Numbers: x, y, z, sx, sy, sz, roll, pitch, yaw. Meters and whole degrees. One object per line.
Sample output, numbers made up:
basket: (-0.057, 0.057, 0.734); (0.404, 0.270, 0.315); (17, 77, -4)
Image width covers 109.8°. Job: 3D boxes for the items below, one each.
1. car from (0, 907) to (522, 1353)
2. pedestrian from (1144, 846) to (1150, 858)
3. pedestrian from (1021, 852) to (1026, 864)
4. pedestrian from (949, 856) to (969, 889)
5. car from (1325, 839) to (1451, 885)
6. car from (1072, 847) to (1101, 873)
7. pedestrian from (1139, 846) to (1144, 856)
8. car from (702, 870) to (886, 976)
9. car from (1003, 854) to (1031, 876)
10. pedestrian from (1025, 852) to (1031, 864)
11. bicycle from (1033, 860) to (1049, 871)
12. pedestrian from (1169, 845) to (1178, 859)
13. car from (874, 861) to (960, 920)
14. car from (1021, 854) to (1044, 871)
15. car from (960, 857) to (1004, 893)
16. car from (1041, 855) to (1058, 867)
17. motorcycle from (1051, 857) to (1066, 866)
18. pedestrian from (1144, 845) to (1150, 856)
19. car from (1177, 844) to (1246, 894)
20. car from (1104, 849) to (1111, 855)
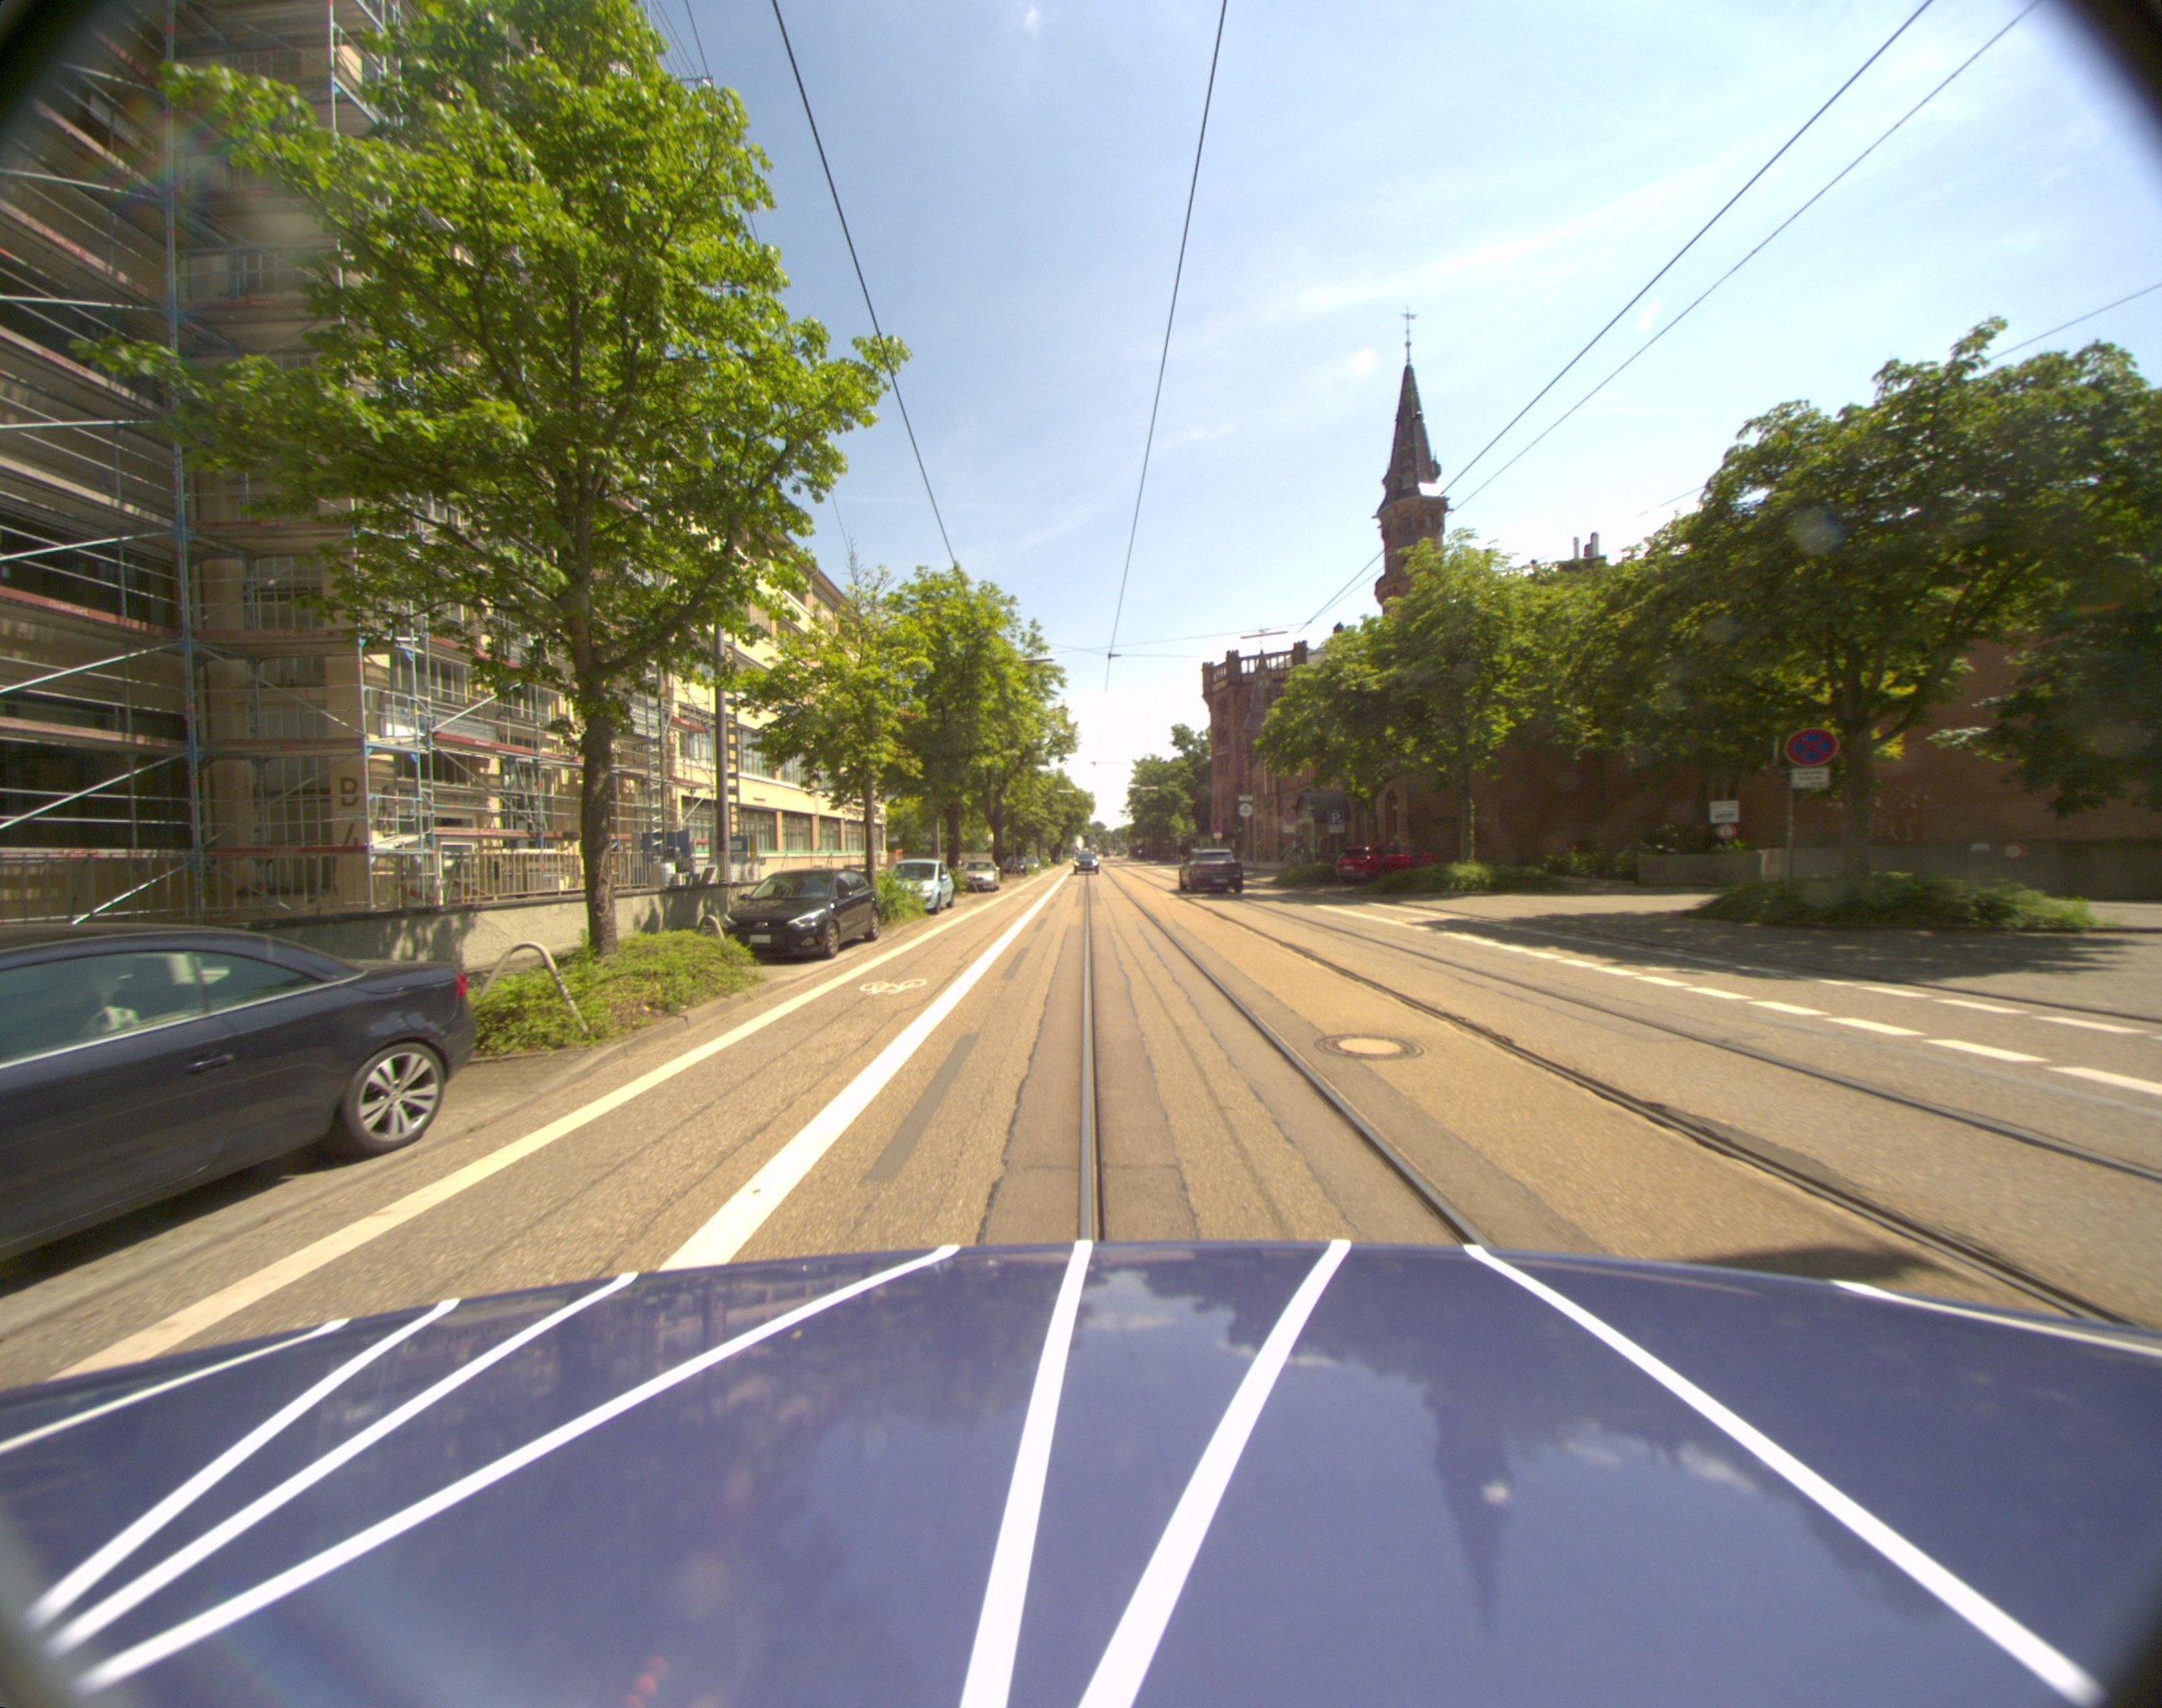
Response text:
car: (-4.934, 1.145, 3.111); (1.829, 1.463, 4.486); (-2, 0, 2)
pedestrian: (10.348, -0.315, 119.650); (0.723, 1.781, 0.919); (-5, 1, 0)
pedestrian: (-7.571, 0.489, 100.067); (0.514, 1.564, 0.544); (0, 1, 1)
pedestrian: (-5.979, 0.898, 37.240); (0.801, 1.579, 0.919); (0, 1, -1)
car: (12.328, 0.292, 30.471); (4.786, 1.557, 1.997); (-3, 1, -28)
car: (0.390, 0.415, 55.818); (1.998, 1.732, 4.226); (-3, 0, 0)
pedestrian: (10.579, -0.509, 133.498); (0.679, 1.738, 0.919); (-5, 1, 0)
car: (-4.808, 1.075, 13.391); (1.675, 1.429, 4.041); (-2, 0, 0)
car: (-4.622, 0.742, 55.458); (1.675, 1.481, 3.980); (-2, 0, 0)
pedestrian: (-6.981, 0.501, 100.067); (0.620, 1.564, 0.610); (0, 1, 1)
bicycle: (-4.180, 1.212, 79.003); (1.589, 1.054, 0.562); (-2, 1, -1)
pedestrian: (11.038, -0.193, 90.668); (0.801, 1.579, 0.919); (-5, 1, 0)
car: (-4.825, 1.013, 22.930); (1.675, 1.509, 4.201); (-2, 0, 0)
car: (-4.220, 0.704, 66.215); (1.675, 1.400, 4.748); (-2, 0, 0)
car: (-4.606, 0.941, 35.917); (1.676, 1.490, 4.364); (-2, 0, -3)
car: (-3.810, 0.860, 91.868); (1.756, 1.263, 3.833); (-3, 0, 1)
motorcycle: (-3.173, 1.041, 107.063); (2.056, 1.206, 0.614); (-1, 2, 40)
pedestrian: (11.591, -0.580, 133.488); (0.754, 1.766, 0.919); (-5, 1, 0)
car: (4.745, 0.489, 28.151); (1.835, 1.671, 4.184); (-2, 0, 1)
car: (7.917, -0.502, 228.014); (1.909, 1.778, 4.255); (-2, 0, 0)
